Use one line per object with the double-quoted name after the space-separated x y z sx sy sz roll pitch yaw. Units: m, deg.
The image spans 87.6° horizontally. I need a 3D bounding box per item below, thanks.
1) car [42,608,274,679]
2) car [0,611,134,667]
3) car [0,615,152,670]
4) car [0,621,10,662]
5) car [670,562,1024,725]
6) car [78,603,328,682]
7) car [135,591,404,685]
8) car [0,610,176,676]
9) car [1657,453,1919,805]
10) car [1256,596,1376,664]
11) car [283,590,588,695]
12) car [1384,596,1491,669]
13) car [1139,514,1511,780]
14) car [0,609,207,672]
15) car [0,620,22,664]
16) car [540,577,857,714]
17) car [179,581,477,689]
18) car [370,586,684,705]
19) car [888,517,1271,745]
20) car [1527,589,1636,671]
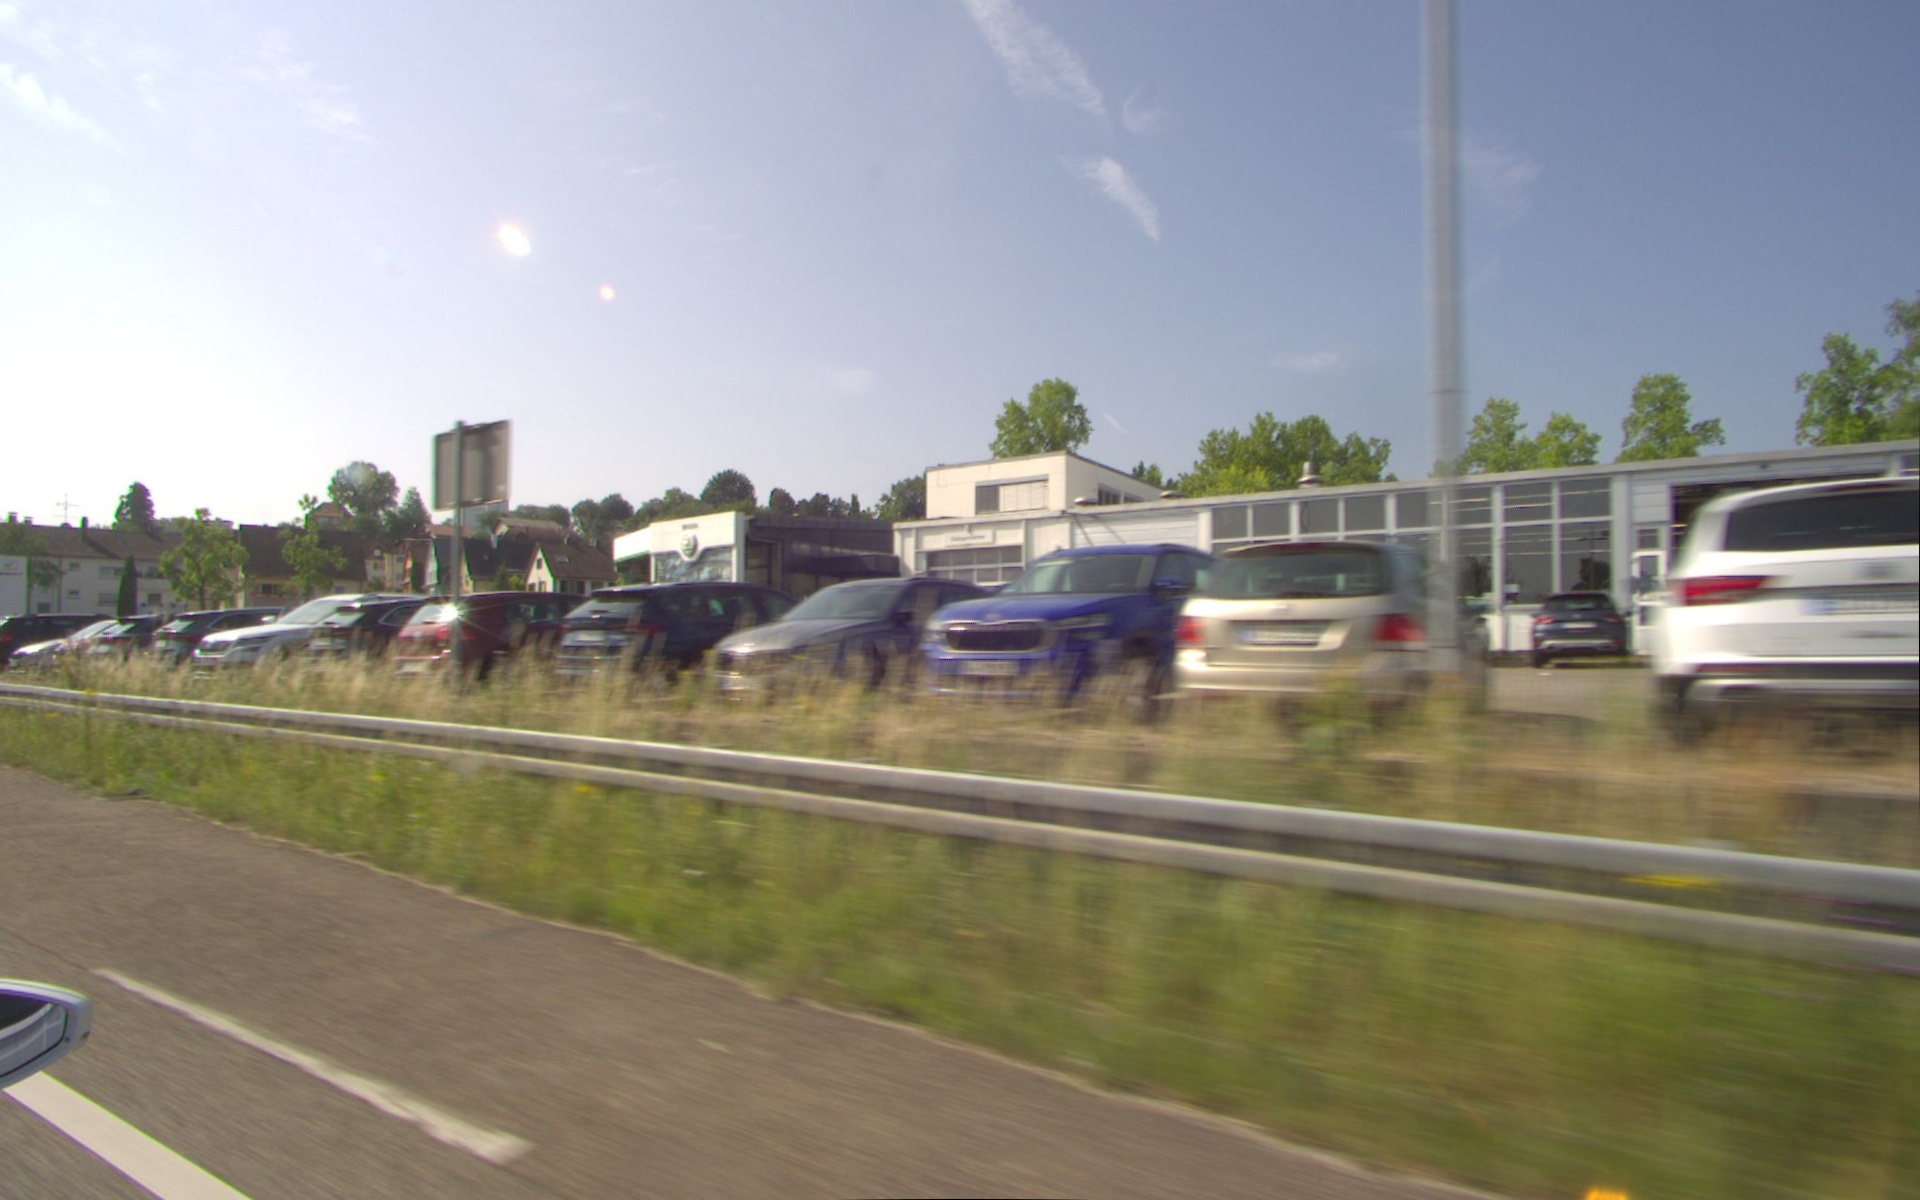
-19.366 0.992 24.362 1.756 1.572 4.074 -1 -1 33 "car"
-28.394 1.178 30.663 1.826 1.621 4.444 -1 -1 28 "car"
-26.249 1.210 29.082 1.700 1.505 4.022 -1 -1 36 "car"
-36.830 1.499 35.694 1.764 1.513 3.984 -1 -2 29 "car"
-1.059 0.458 11.254 1.923 1.470 3.980 -1 -2 32 "car"
-15.638 0.859 20.872 1.722 1.477 3.829 -1 -2 33 "car"
-13.477 0.723 19.759 1.895 1.653 3.978 -1 -2 33 "car"
-24.103 1.124 27.377 1.816 1.685 3.866 -1 -1 36 "car"
5.569 0.151 6.355 1.855 1.638 4.034 -1 -1 35 "car"
8.642 0.682 24.081 1.766 1.483 4.300 -1 -1 33 "car"
-8.342 0.662 16.263 1.923 1.470 3.980 -1 -2 32 "car"
10.799 0.689 22.489 1.764 1.483 4.303 -1 -1 31 "car"
3.099 0.300 7.920 1.782 1.527 4.028 -1 -1 35 "car"
-21.524 0.975 25.239 1.641 1.477 3.724 -1 -1 33 "car"
-34.716 1.432 33.931 1.705 1.513 3.981 -1 -2 31 "car"
-3.141 0.539 12.680 1.754 1.446 3.727 -1 -2 32 "car"
-10.814 0.593 17.418 1.893 1.653 3.982 -1 -2 30 "car"
-5.924 0.602 14.107 1.797 1.424 3.724 -1 -2 32 "car"
1.394 0.288 9.646 1.924 1.661 4.346 -1 -2 34 "car"
13.036 0.601 21.115 1.764 1.545 4.303 -1 -1 31 "car"
